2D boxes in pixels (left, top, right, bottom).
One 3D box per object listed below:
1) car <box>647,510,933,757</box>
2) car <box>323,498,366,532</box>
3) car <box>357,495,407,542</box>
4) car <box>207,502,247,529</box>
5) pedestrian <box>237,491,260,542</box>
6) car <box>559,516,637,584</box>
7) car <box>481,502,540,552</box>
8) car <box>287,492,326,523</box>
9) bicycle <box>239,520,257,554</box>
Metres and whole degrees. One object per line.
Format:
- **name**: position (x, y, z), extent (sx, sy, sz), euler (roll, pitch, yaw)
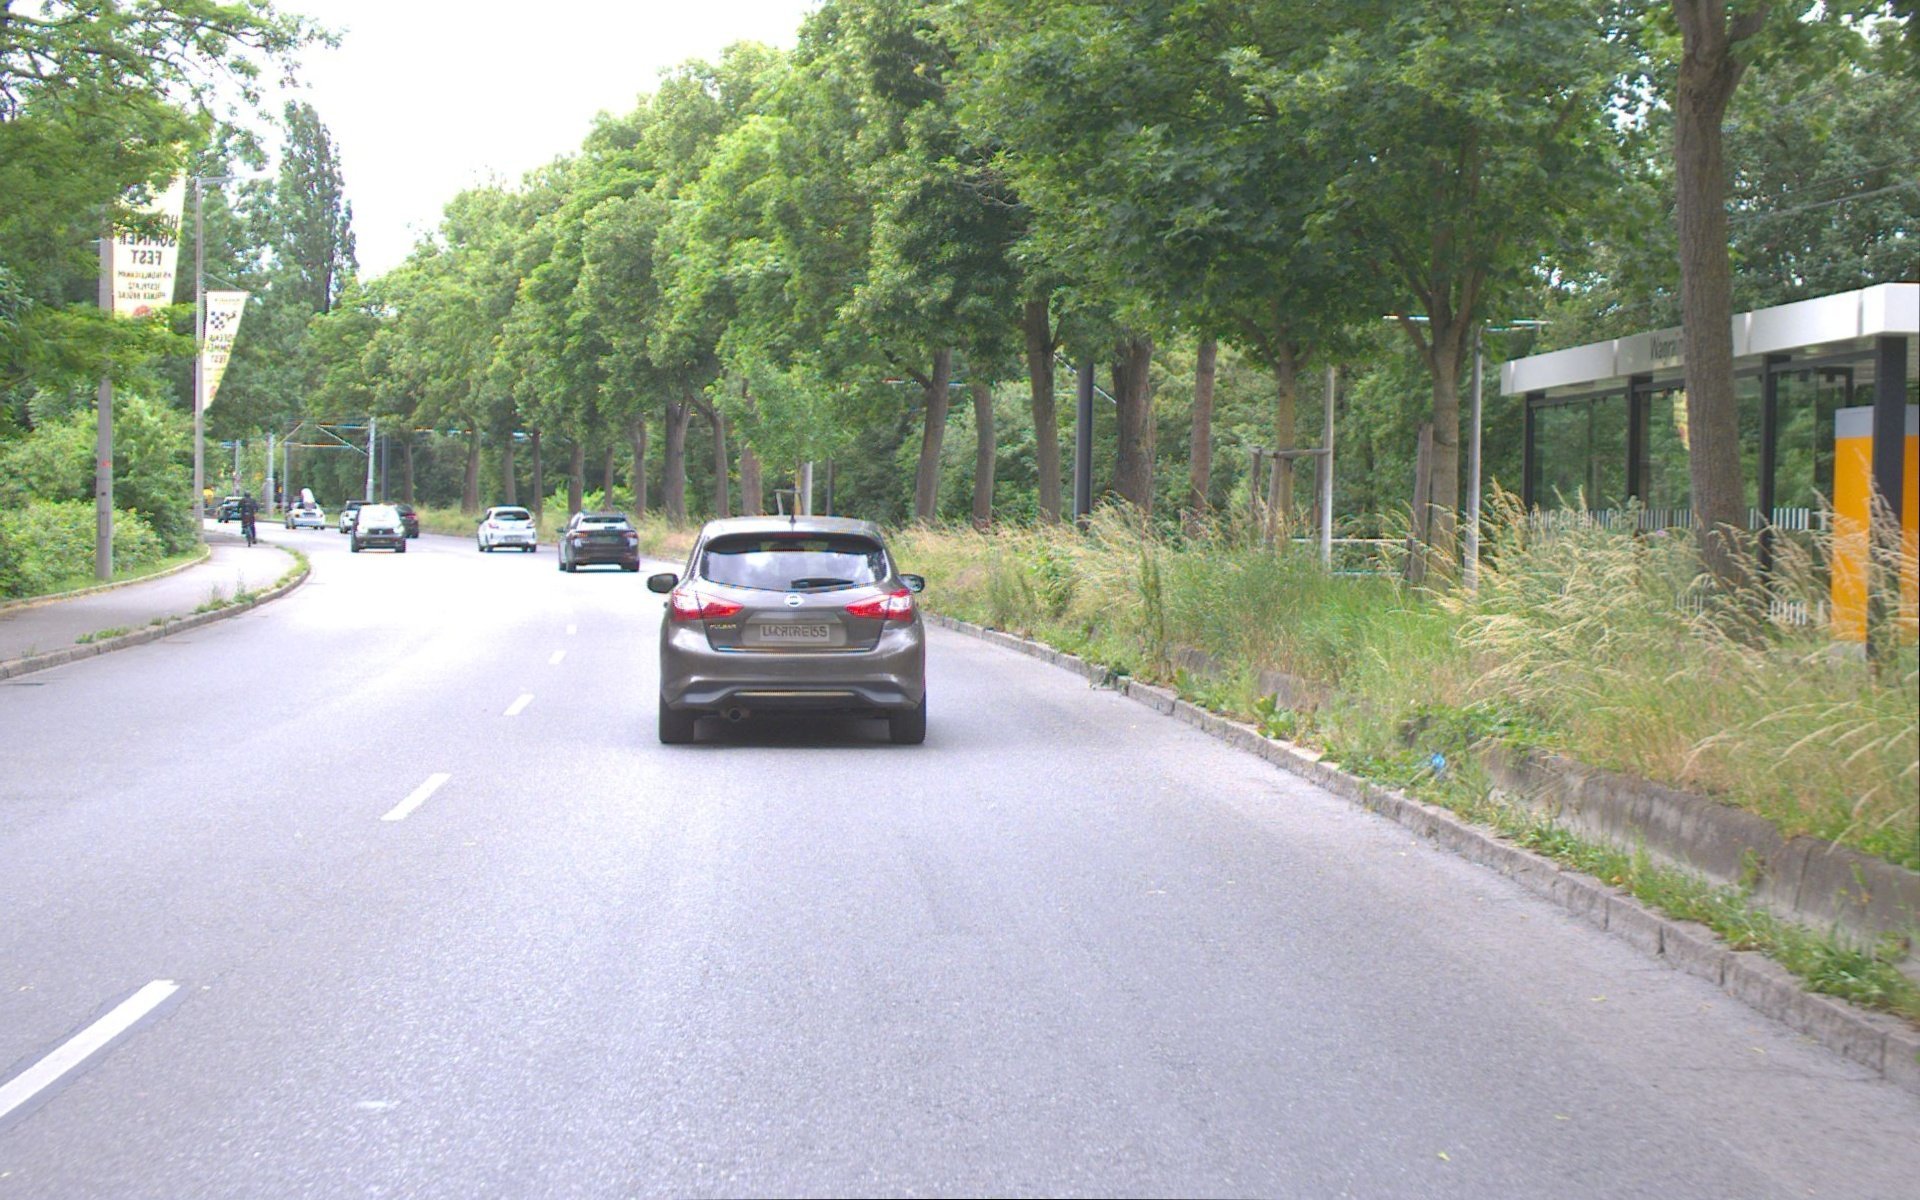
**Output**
- **car**: position (-1.247, 0.164, 23.932), extent (1.816, 1.503, 4.001), euler (0, 2, -5)
- **car**: position (-28.913, -4.005, 161.606), extent (1.775, 1.467, 4.001), euler (2, 2, -8)
- **car**: position (-18.943, -2.674, 112.752), extent (1.595, 1.500, 3.029), euler (0, 1, -9)
- **car**: position (-44.368, -5.128, 208.063), extent (1.775, 1.467, 4.002), euler (2, 2, -20)
- **pedestrian**: position (-22.608, -2.652, 109.258), extent (0.617, 1.566, 0.849), euler (3, 2, -12)
- **car**: position (-8.853, -1.243, 84.355), extent (1.775, 1.467, 4.001), euler (3, 2, -5)
- **car**: position (-14.792, -2.411, 113.221), extent (1.775, 1.467, 4.001), euler (3, 2, -7)
- **car**: position (-34.650, -4.890, 182.225), extent (1.775, 1.467, 4.002), euler (3, 2, -14)
- **bicycle**: position (-22.636, -2.007, 109.304), extent (0.488, 1.027, 1.125), euler (3, 2, -12)
